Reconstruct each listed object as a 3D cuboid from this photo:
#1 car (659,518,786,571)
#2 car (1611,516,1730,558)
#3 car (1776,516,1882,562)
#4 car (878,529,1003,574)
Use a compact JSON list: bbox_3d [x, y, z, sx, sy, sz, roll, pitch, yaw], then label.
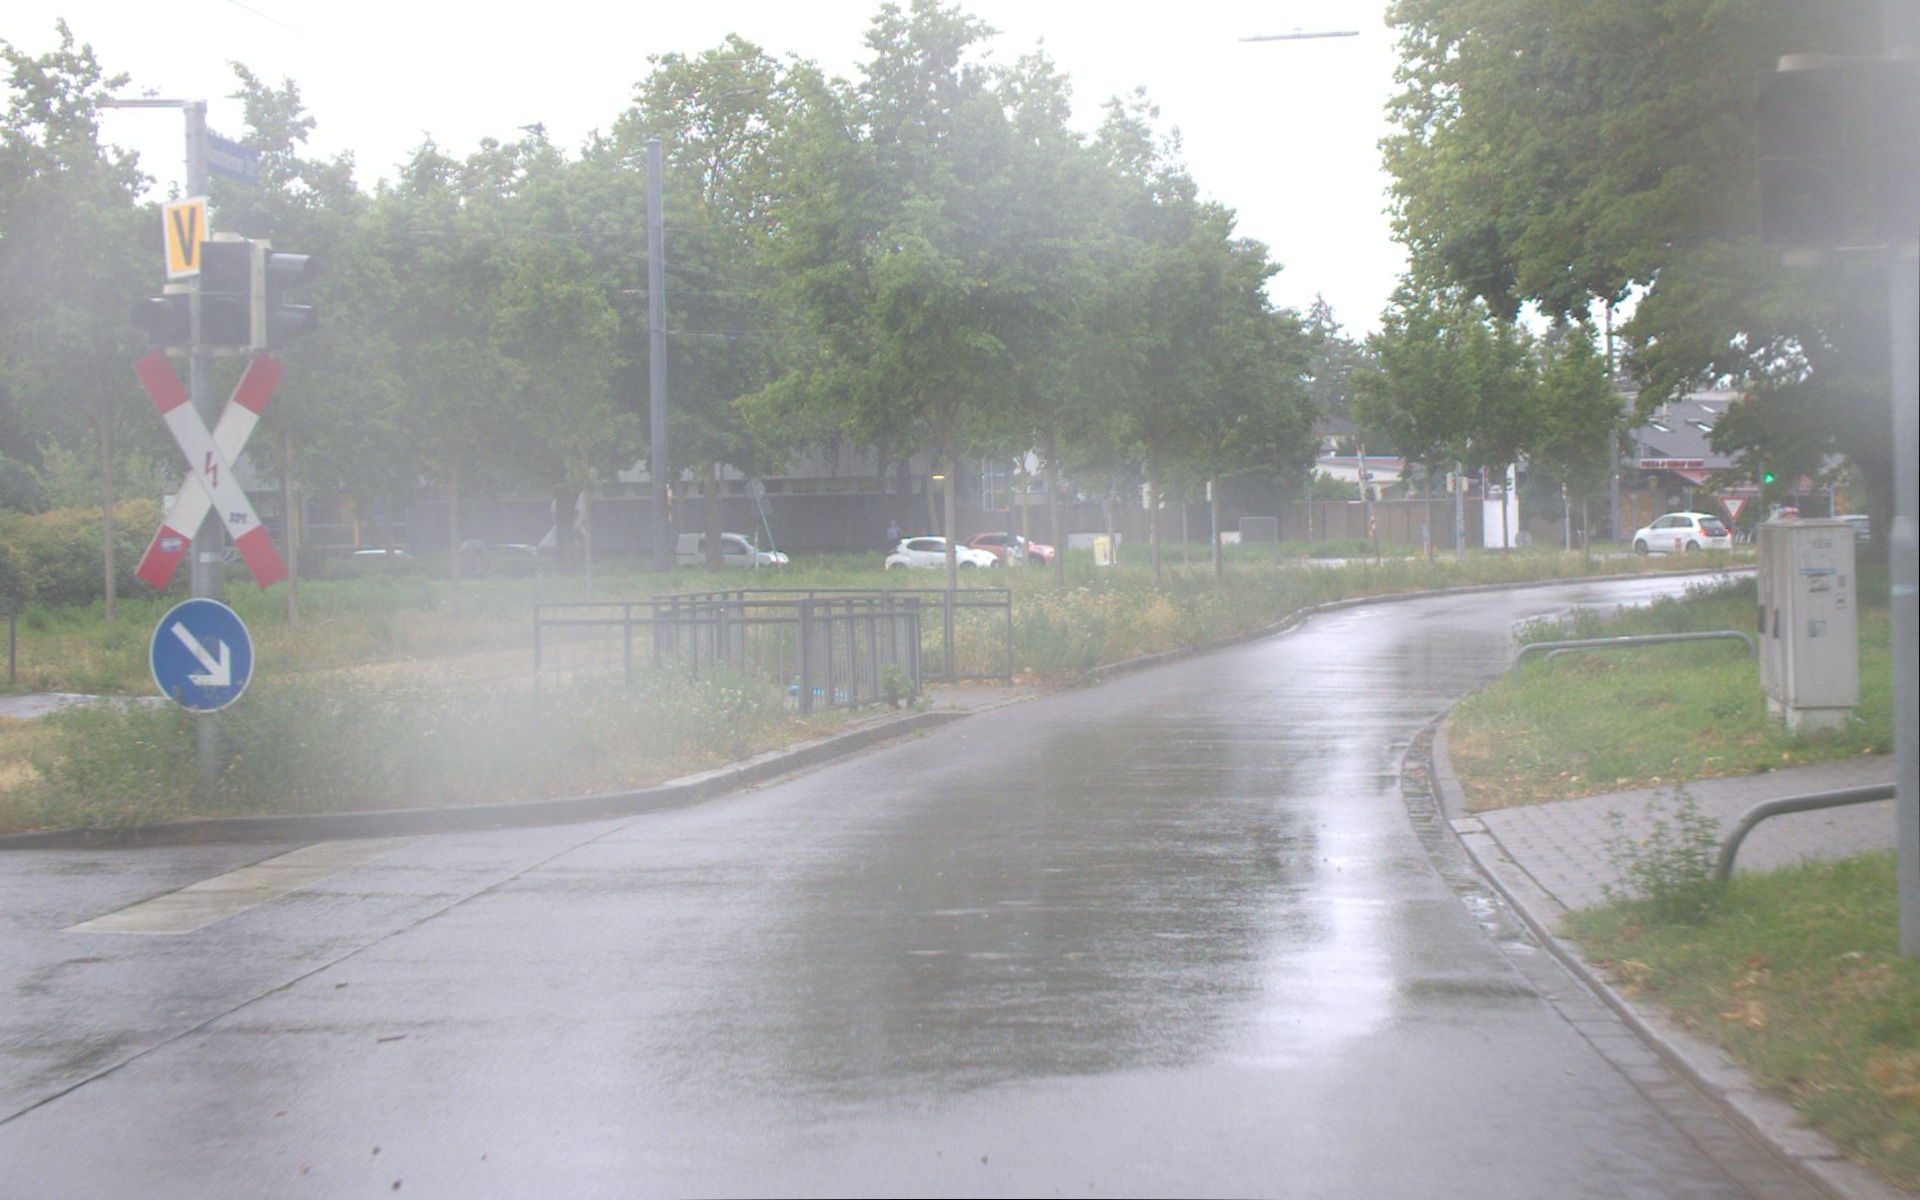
[{"bbox_3d":[-8.575,-2.000,124.272,4.212,1.790,1.651,-1,2,15],"label":"car"},{"bbox_3d":[25.202,-2.234,122.053,1.534,1.415,3.998,-3,2,-40],"label":"car"},{"bbox_3d":[28.206,-1.978,111.704,1.683,1.415,3.817,-2,1,-14],"label":"car"},{"bbox_3d":[-0.685,-1.723,121.603,4.068,1.494,1.651,-1,1,16],"label":"car"}]
